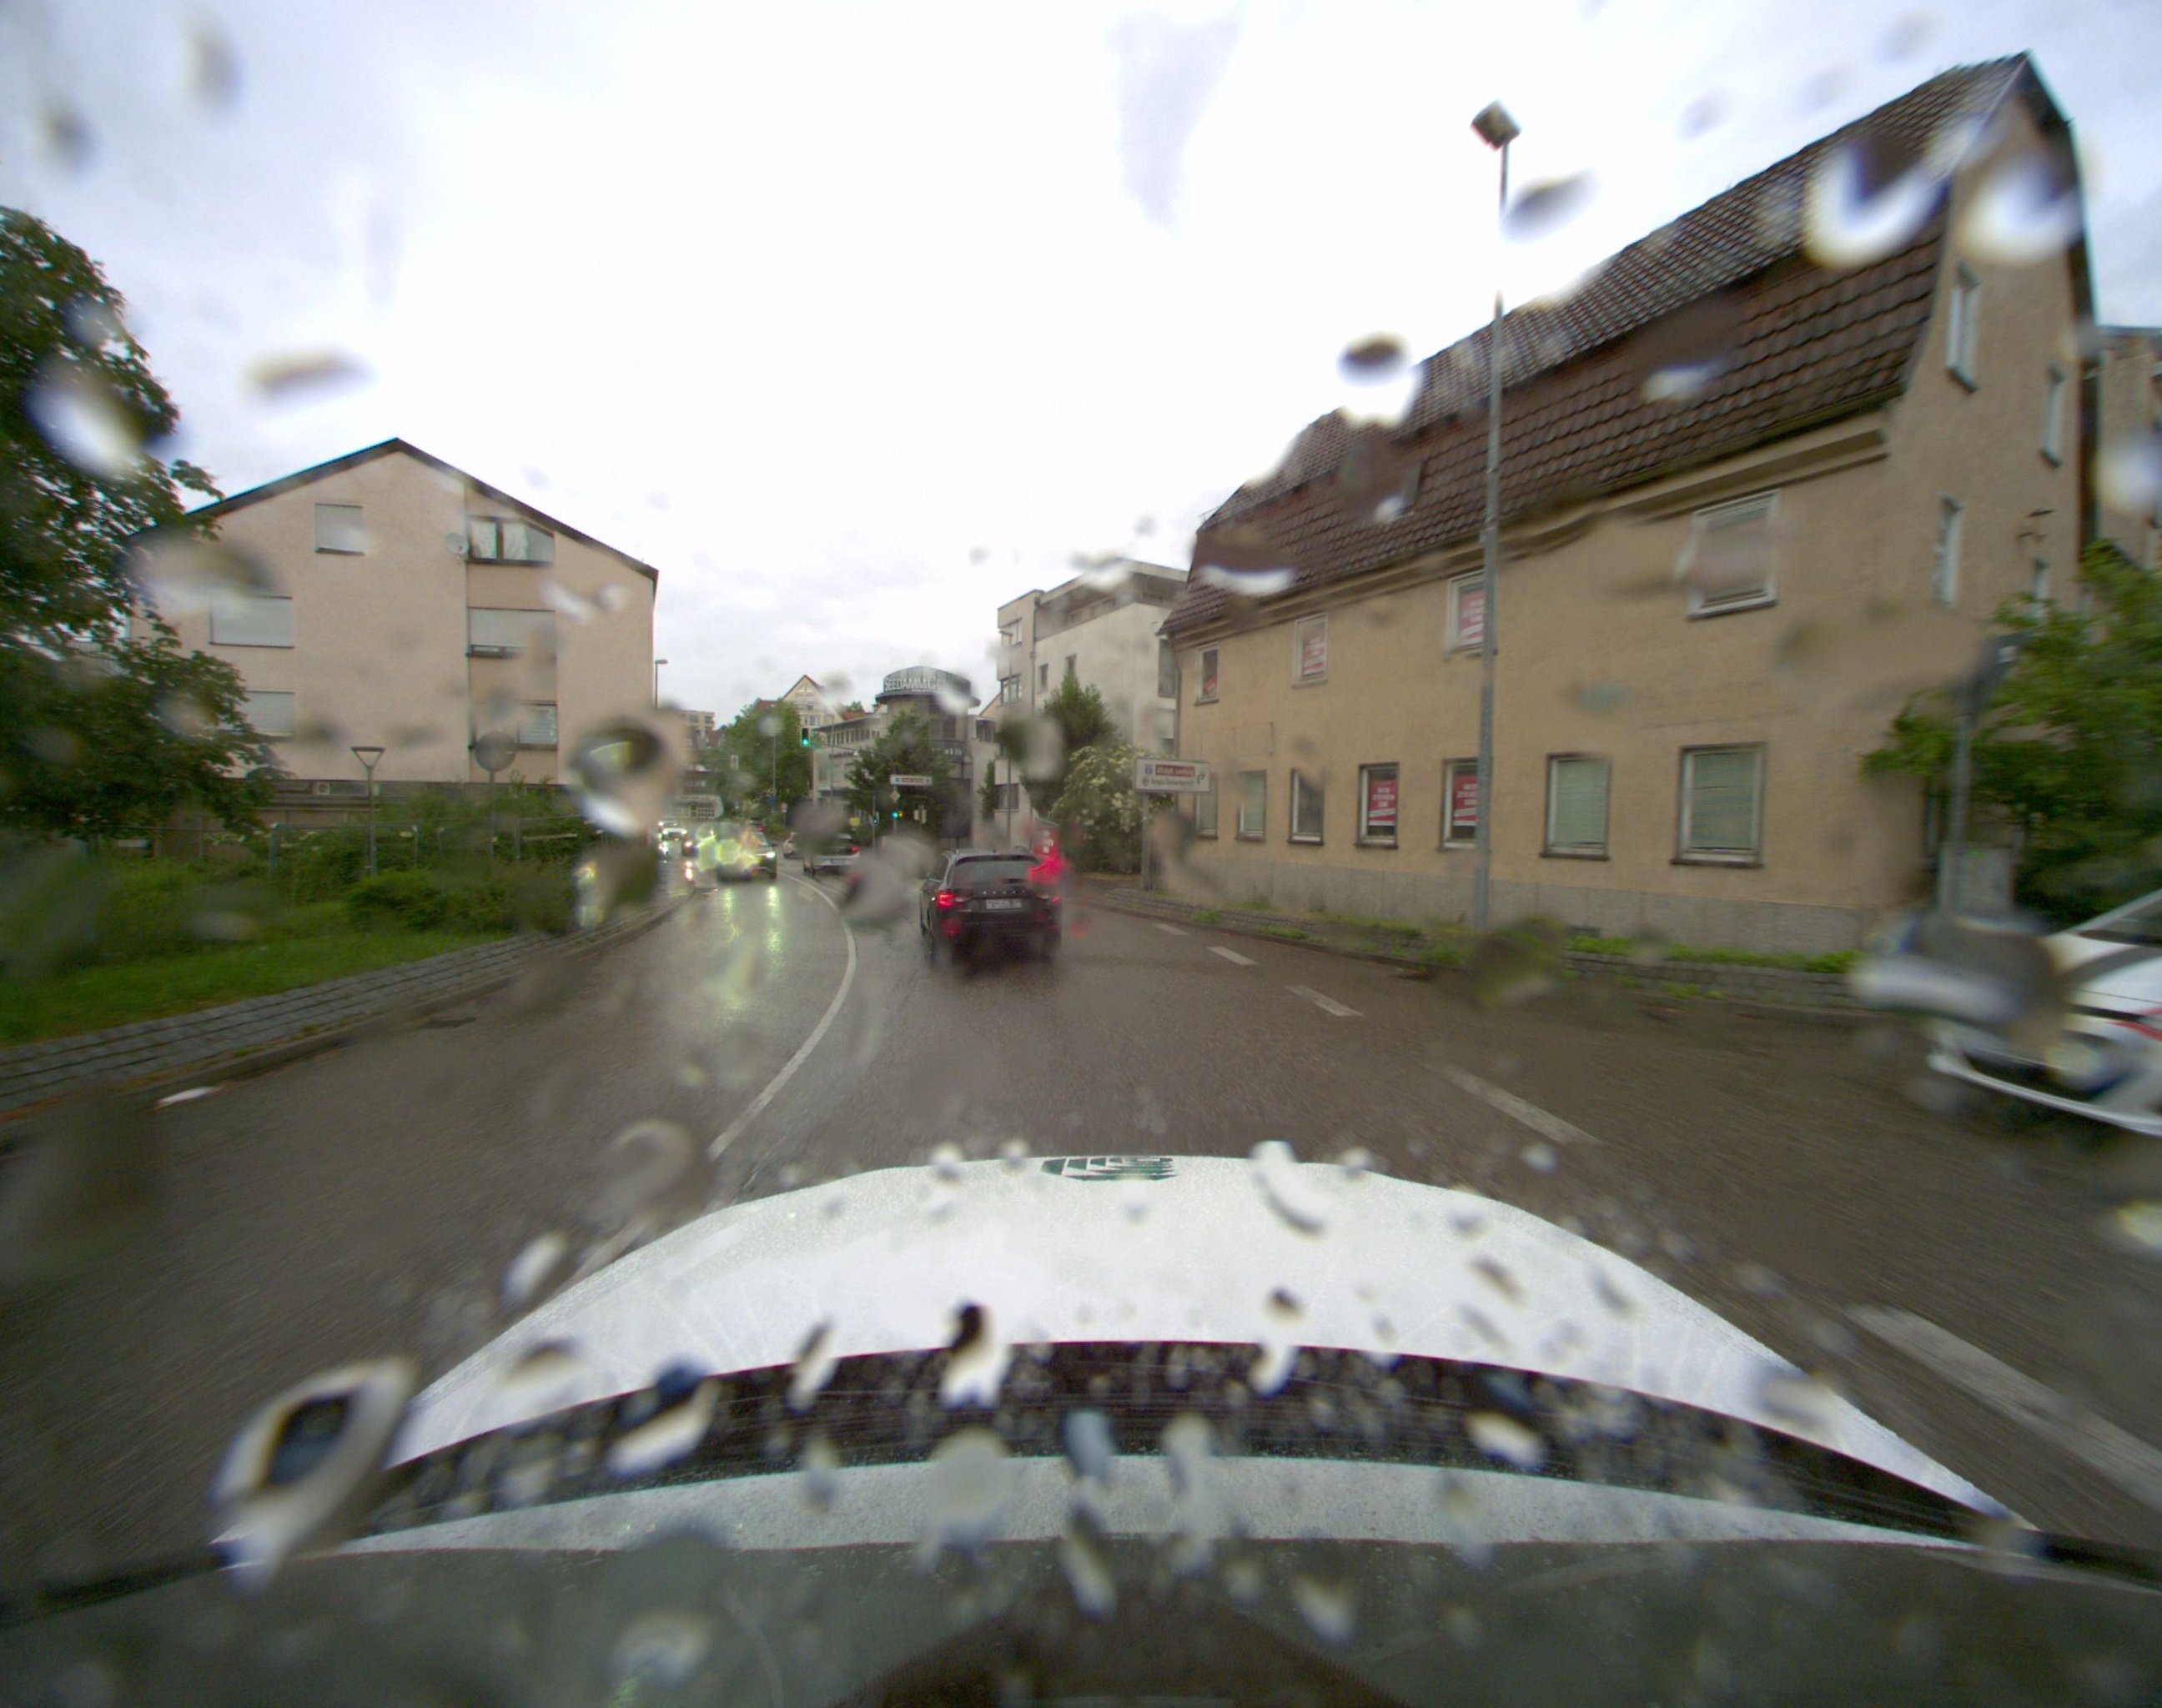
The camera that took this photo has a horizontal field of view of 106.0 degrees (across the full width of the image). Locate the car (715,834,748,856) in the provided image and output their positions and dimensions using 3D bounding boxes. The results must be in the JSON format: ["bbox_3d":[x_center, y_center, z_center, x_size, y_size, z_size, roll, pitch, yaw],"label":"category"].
[{"bbox_3d":[-27.035,-0.716,62.890,1.796,1.562,4.360,1,3,-31],"label":"car"}]

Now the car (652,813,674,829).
[{"bbox_3d":[-43.715,-3.486,85.107,1.796,1.560,4.296,-1,4,-30],"label":"car"}]

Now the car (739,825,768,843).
[{"bbox_3d":[-29.369,-1.799,73.027,1.905,1.590,3.654,-1,2,-30],"label":"car"}]

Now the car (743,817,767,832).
[{"bbox_3d":[-37.319,-3.425,93.074,1.865,1.640,3.833,-2,4,-32],"label":"car"}]

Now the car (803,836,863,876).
[{"bbox_3d":[-9.634,0.039,31.465,1.826,1.359,3.960,0,2,-23],"label":"car"}]

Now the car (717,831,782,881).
[{"bbox_3d":[-11.997,0.008,29.337,1.903,1.595,4.320,-3,2,-25],"label":"car"}]

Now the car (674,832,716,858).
[{"bbox_3d":[-22.290,-0.553,46.944,1.782,1.401,3.881,-2,2,-31],"label":"car"}]

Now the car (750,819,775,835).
[{"bbox_3d":[-34.329,-2.969,87.755,1.865,1.640,3.503,-2,4,-32],"label":"car"}]

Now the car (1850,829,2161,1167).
[{"bbox_3d":[6.603,0.601,4.081,3.732,1.453,1.715,0,1,6],"label":"car"}]

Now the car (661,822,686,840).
[{"bbox_3d":[-34.571,-1.956,69.058,1.701,1.372,4.075,-2,4,-29],"label":"car"}]

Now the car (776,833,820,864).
[{"bbox_3d":[-15.662,-0.278,45.008,1.737,1.590,4.147,1,-1,-27],"label":"car"}]

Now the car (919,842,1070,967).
[{"bbox_3d":[-1.487,0.603,12.410,1.784,1.483,4.228,-2,1,-13],"label":"car"}]
